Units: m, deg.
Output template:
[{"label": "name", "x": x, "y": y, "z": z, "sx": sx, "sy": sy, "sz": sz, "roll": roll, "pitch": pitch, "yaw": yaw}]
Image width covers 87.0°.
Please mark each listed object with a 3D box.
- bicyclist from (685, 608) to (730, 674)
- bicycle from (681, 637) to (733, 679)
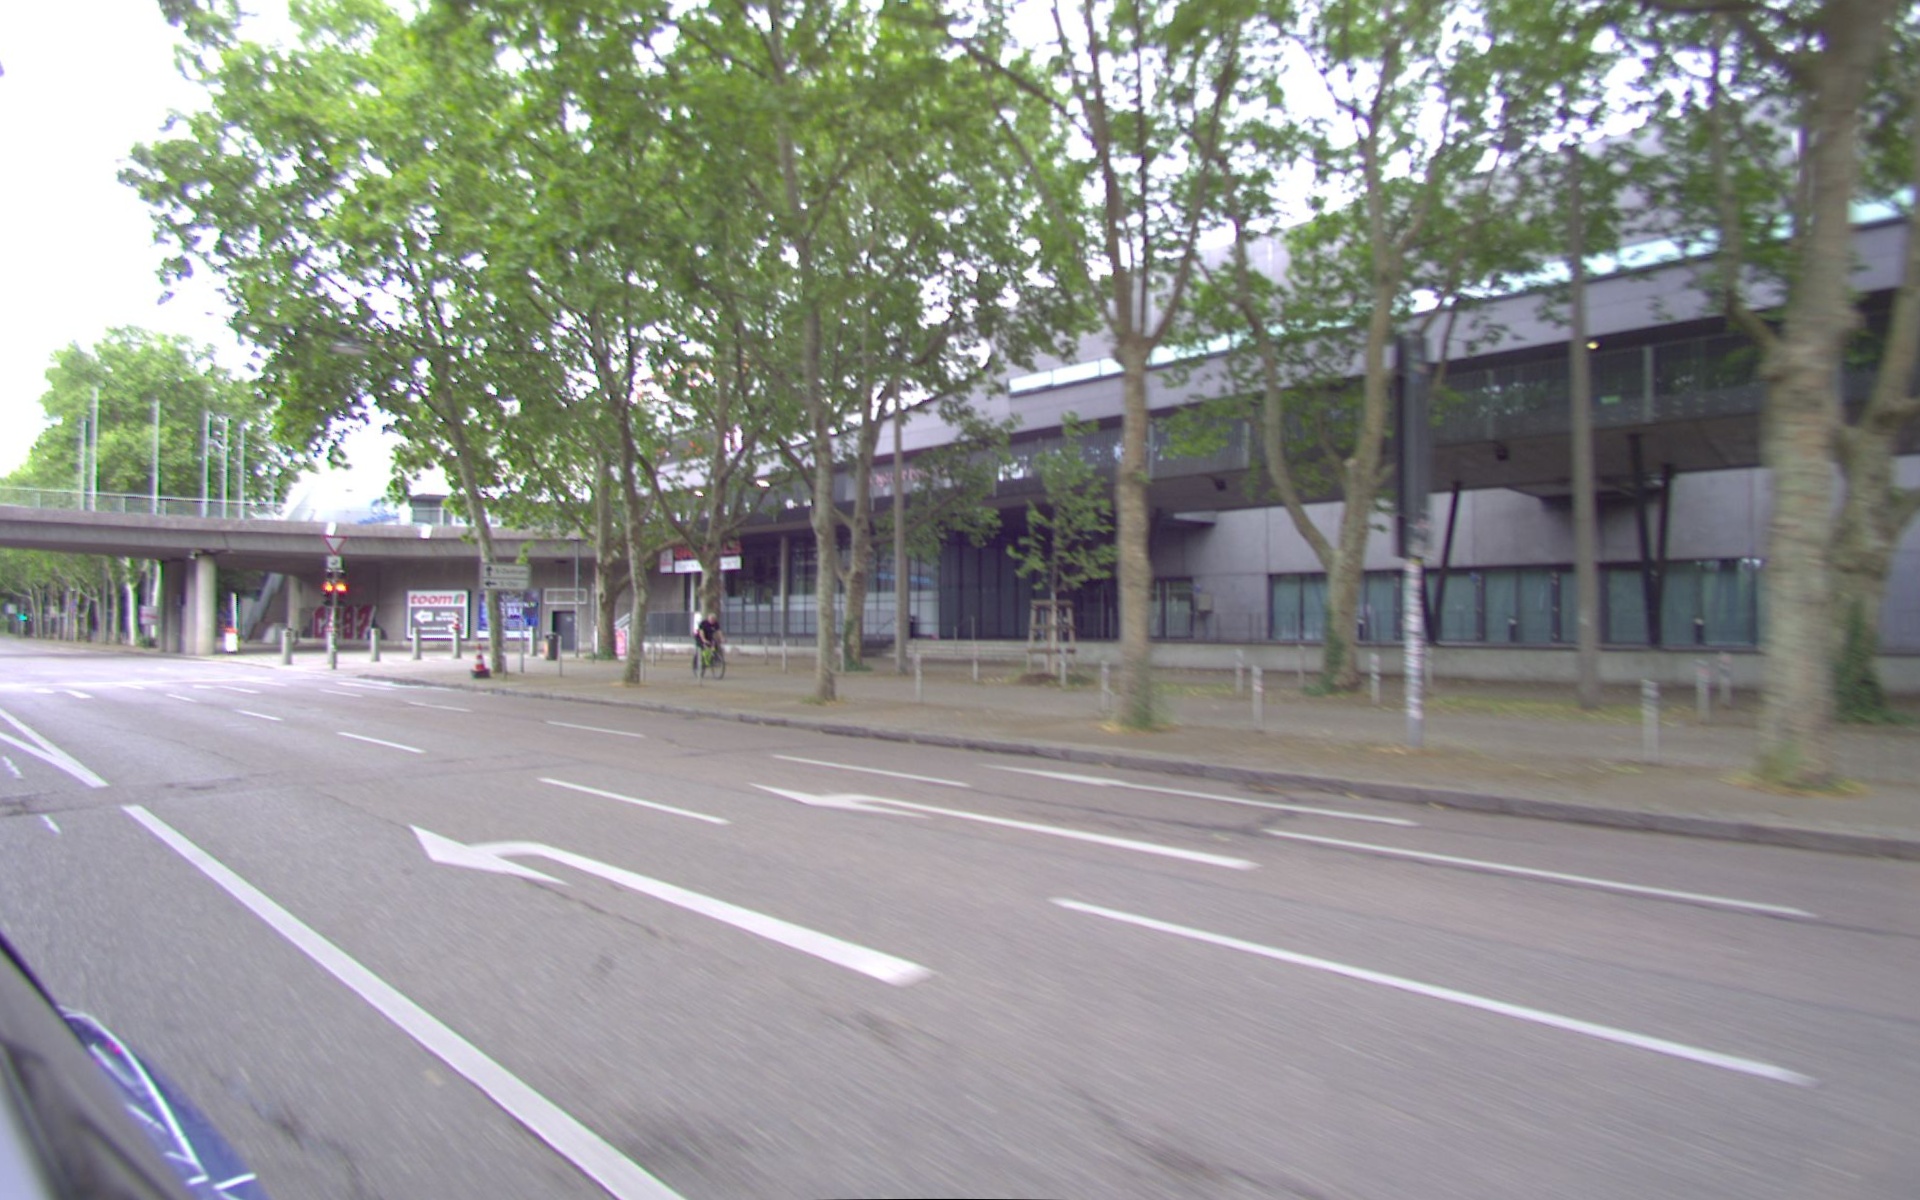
[{"label": "bicyclist", "x": -6.693, "y": 1.085, "z": 26.839, "sx": 0.854, "sy": 1.710, "sz": 0.756, "roll": 1, "pitch": -2, "yaw": 41}, {"label": "bicycle", "x": -6.712, "y": 1.522, "z": 26.826, "sx": 1.537, "sy": 1.020, "sz": 0.510, "roll": 1, "pitch": -2, "yaw": 41}]
